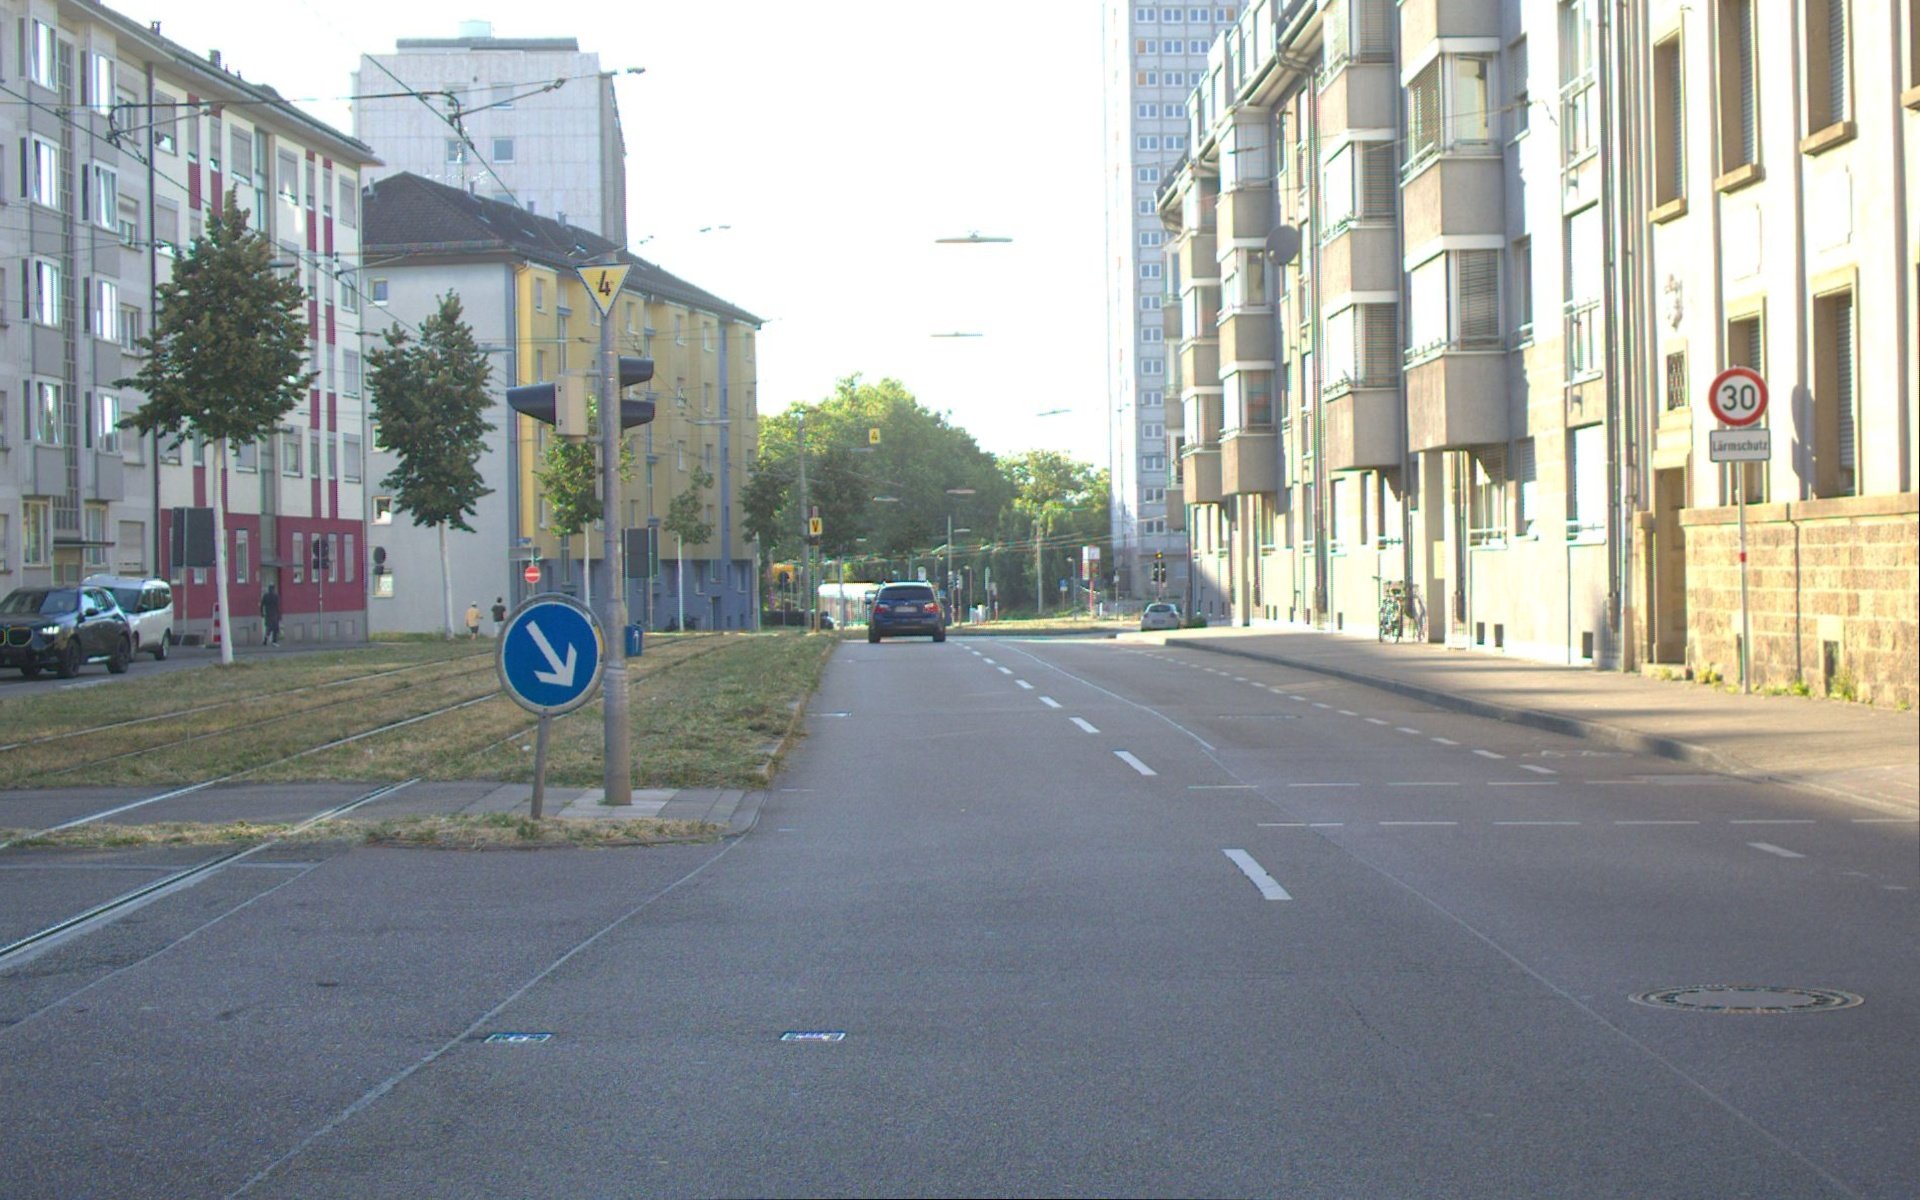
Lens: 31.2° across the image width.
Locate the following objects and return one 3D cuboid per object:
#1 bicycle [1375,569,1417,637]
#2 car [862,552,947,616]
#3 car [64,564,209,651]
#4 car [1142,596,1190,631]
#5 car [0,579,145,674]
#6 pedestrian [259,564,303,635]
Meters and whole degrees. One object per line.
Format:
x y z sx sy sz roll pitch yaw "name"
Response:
7.188 0.053 56.717 0.383 1.092 1.504 -2 0 -3 "bicycle"
-1.283 -0.365 81.178 1.926 1.451 4.327 0 0 0 "car"
-18.613 0.172 77.888 1.994 1.918 4.541 0 0 3 "car"
9.352 0.626 155.863 1.994 1.558 3.999 0 0 6 "car"
-16.296 0.452 62.396 1.897 1.628 4.747 -1 0 -1 "car"
-19.477 -0.010 98.639 1.005 2.029 0.885 0 0 6 "pedestrian"
